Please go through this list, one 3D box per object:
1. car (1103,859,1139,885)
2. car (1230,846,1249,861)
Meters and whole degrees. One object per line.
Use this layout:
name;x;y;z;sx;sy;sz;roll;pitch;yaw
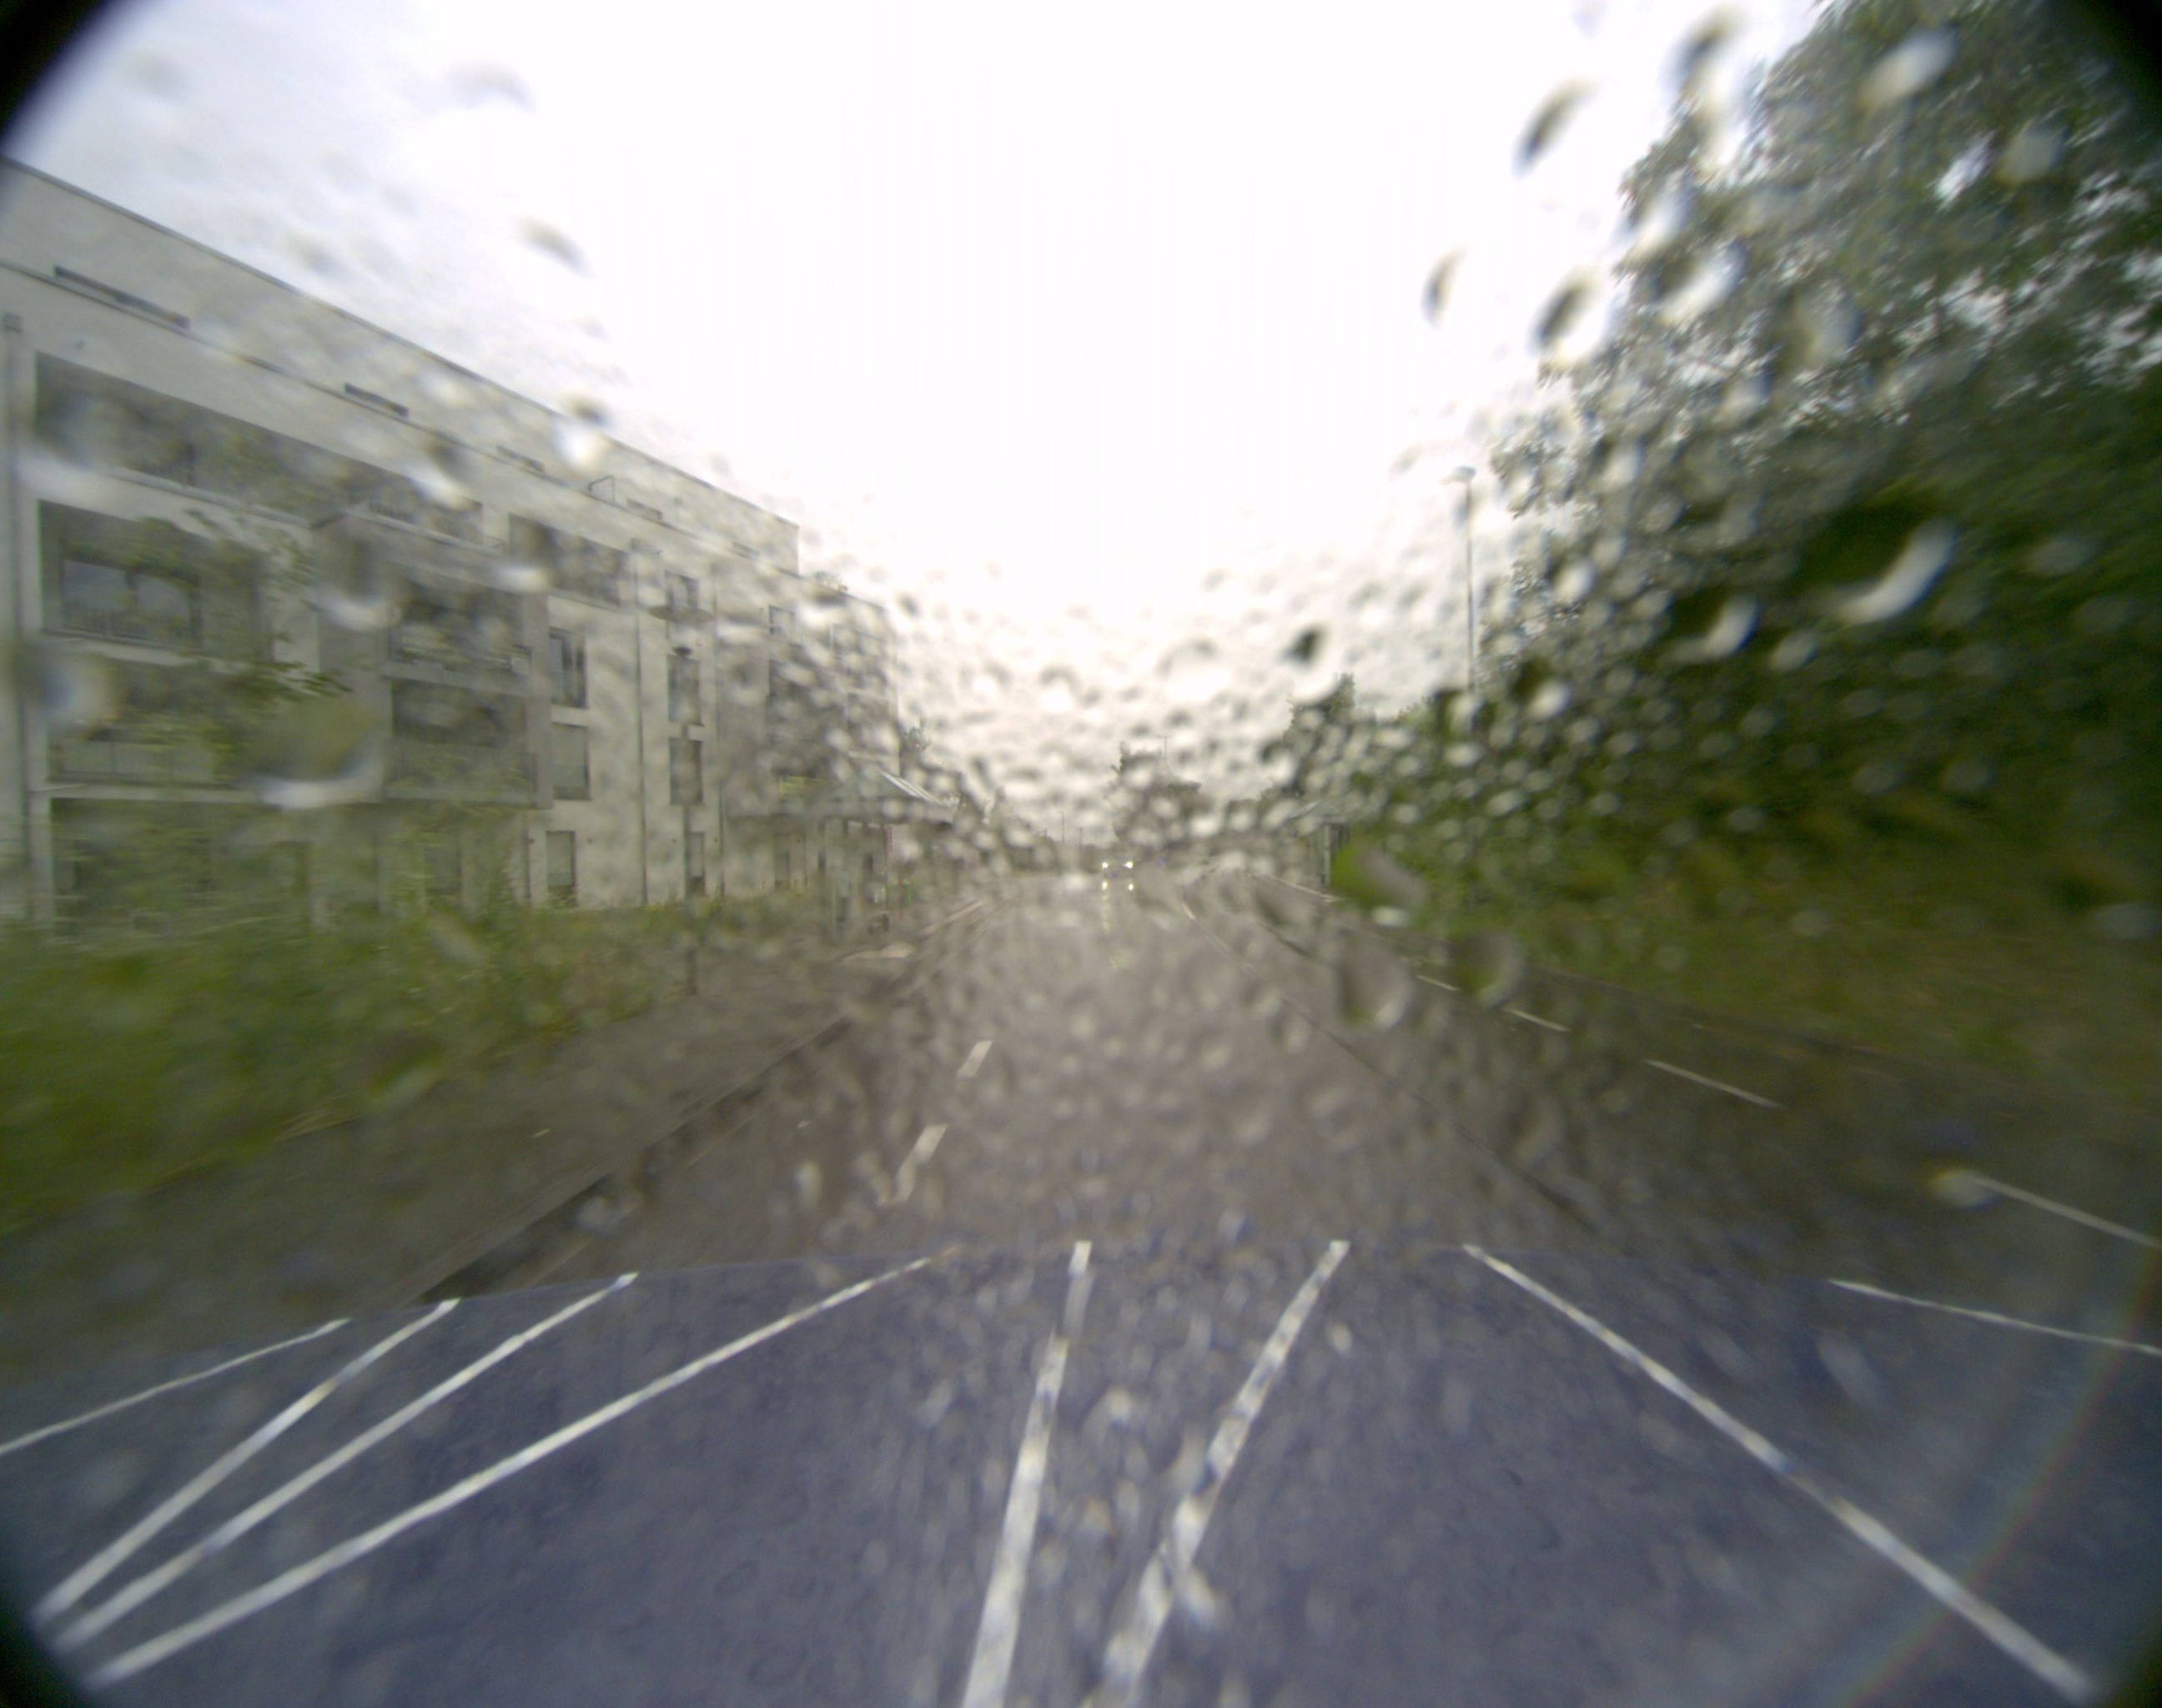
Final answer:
car;2.389;1.056;44.699;1.763;1.477;3.794;-1;-1;9
car;14.717;-0.050;70.471;1.574;1.402;3.478;0;1;15
